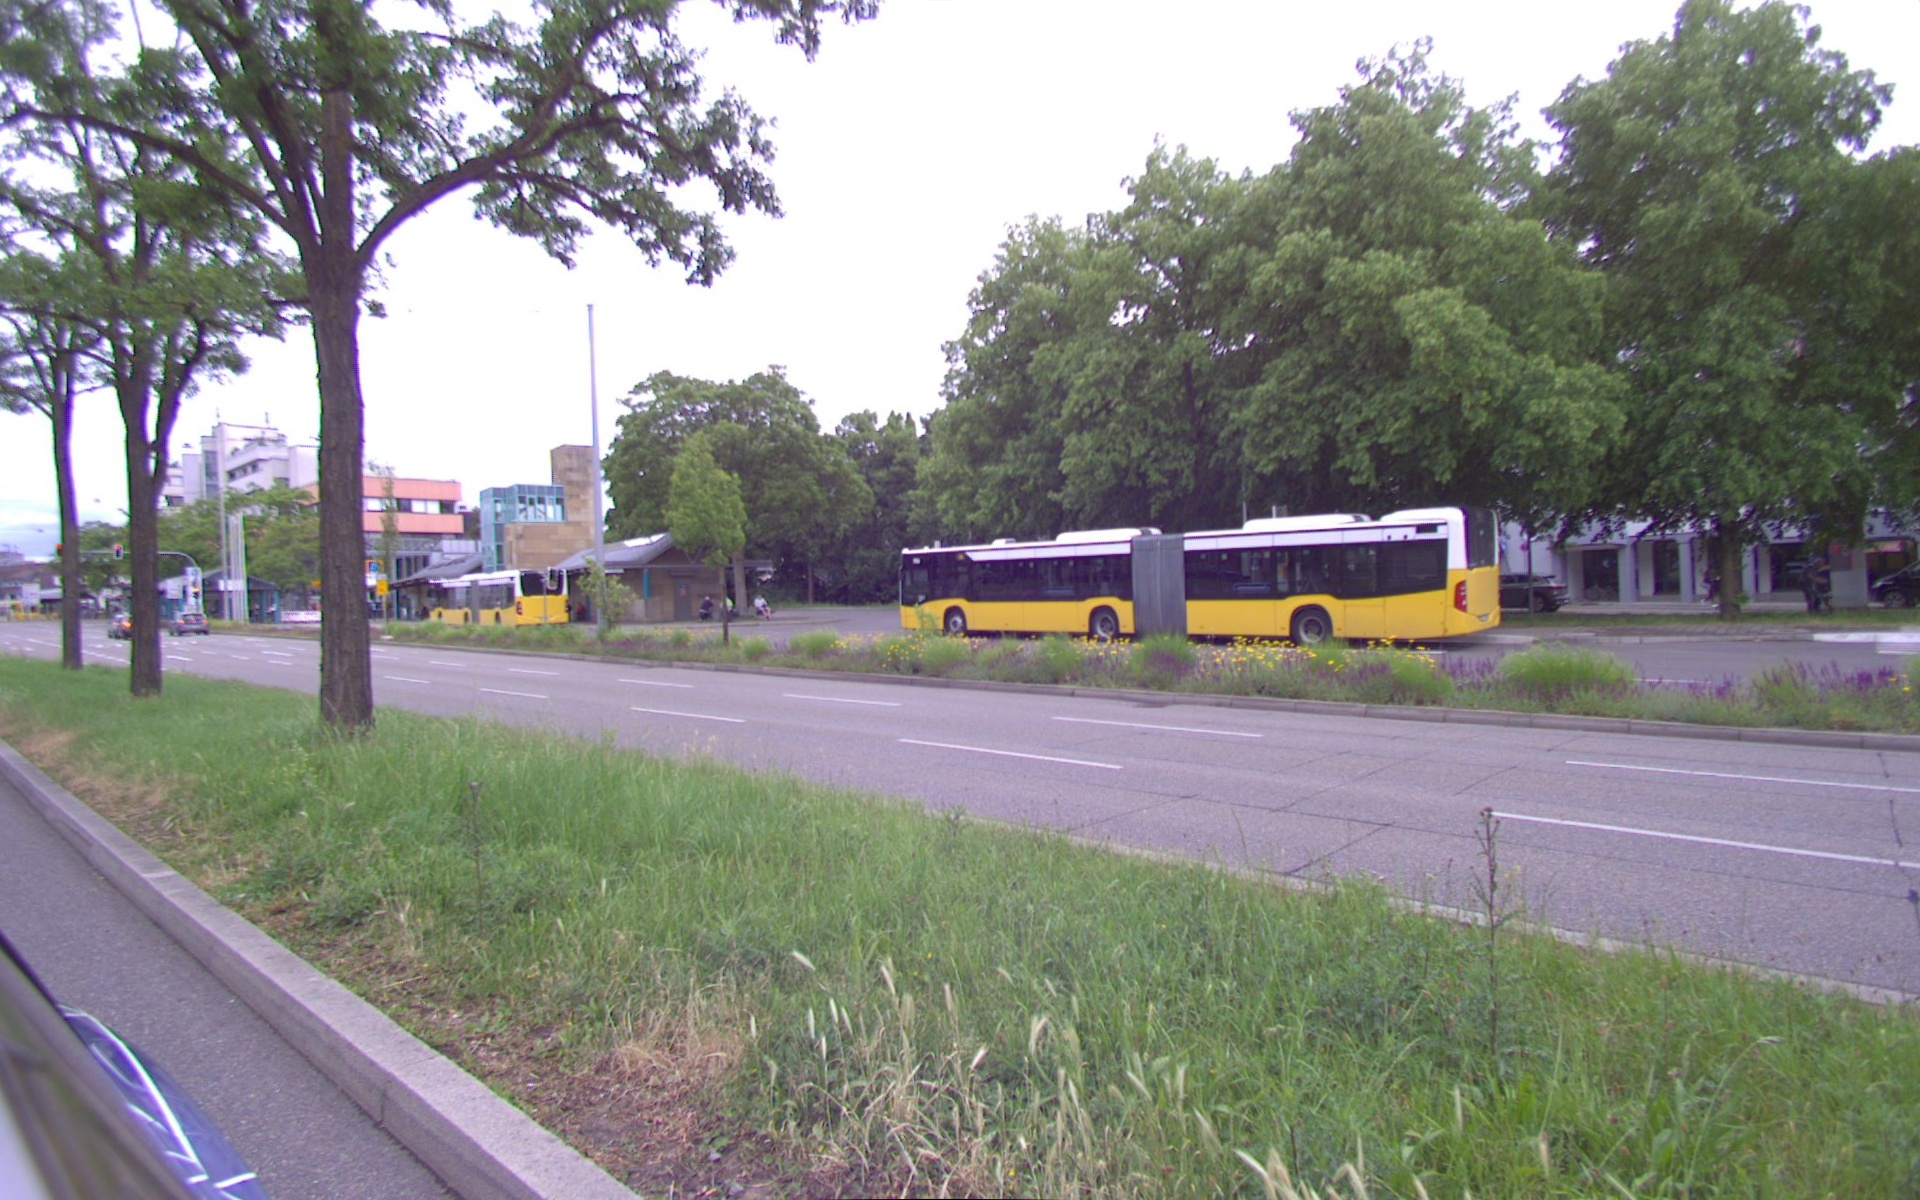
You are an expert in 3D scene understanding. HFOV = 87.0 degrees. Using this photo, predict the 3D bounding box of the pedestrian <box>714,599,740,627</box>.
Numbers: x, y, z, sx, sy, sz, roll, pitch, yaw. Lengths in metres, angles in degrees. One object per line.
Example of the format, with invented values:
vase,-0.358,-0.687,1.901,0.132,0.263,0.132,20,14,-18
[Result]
pedestrian,-11.111,0.600,48.339,0.888,1.300,0.853,-2,0,18

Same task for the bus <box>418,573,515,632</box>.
bus,-29.509,0.215,60.256,2.742,3.155,9.452,-4,2,-41

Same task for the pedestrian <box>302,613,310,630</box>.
pedestrian,-59.583,1.970,92.206,0.521,1.559,0.756,-2,0,-32

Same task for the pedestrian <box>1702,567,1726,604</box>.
pedestrian,32.436,-0.609,43.559,0.649,1.559,0.668,-1,0,-41

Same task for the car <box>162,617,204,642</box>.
car,-51.819,1.952,67.479,1.794,1.519,4.004,-1,0,-43

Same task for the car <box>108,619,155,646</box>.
car,-49.676,1.917,60.672,3.768,1.519,1.641,-1,0,42

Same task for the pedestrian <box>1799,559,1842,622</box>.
pedestrian,23.630,-0.260,27.792,0.857,1.701,0.450,-2,0,41

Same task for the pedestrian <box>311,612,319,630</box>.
pedestrian,-59.304,1.927,93.089,0.382,1.559,0.479,-2,0,34

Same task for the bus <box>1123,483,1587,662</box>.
bus,8.904,-0.509,24.260,2.996,3.481,9.918,-4,1,-44

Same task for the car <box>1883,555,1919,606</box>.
car,36.609,-0.774,36.278,1.967,1.846,4.829,-1,0,-34

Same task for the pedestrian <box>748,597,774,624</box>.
pedestrian,-9.634,0.502,48.909,0.858,1.264,0.883,-2,0,43

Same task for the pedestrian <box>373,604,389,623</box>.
pedestrian,-48.139,1.118,84.147,0.590,1.472,0.981,-2,0,34

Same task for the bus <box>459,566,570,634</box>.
bus,-23.538,0.065,53.161,2.774,3.155,9.316,-4,2,-39

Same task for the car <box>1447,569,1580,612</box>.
car,22.036,-0.360,40.400,1.970,1.593,4.250,-1,0,-44

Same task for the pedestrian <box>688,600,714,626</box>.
pedestrian,-12.720,0.643,49.716,0.887,1.264,0.854,-2,0,14

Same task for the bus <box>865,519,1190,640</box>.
bus,1.683,-0.470,31.675,10.742,3.186,3.048,-2,0,45
